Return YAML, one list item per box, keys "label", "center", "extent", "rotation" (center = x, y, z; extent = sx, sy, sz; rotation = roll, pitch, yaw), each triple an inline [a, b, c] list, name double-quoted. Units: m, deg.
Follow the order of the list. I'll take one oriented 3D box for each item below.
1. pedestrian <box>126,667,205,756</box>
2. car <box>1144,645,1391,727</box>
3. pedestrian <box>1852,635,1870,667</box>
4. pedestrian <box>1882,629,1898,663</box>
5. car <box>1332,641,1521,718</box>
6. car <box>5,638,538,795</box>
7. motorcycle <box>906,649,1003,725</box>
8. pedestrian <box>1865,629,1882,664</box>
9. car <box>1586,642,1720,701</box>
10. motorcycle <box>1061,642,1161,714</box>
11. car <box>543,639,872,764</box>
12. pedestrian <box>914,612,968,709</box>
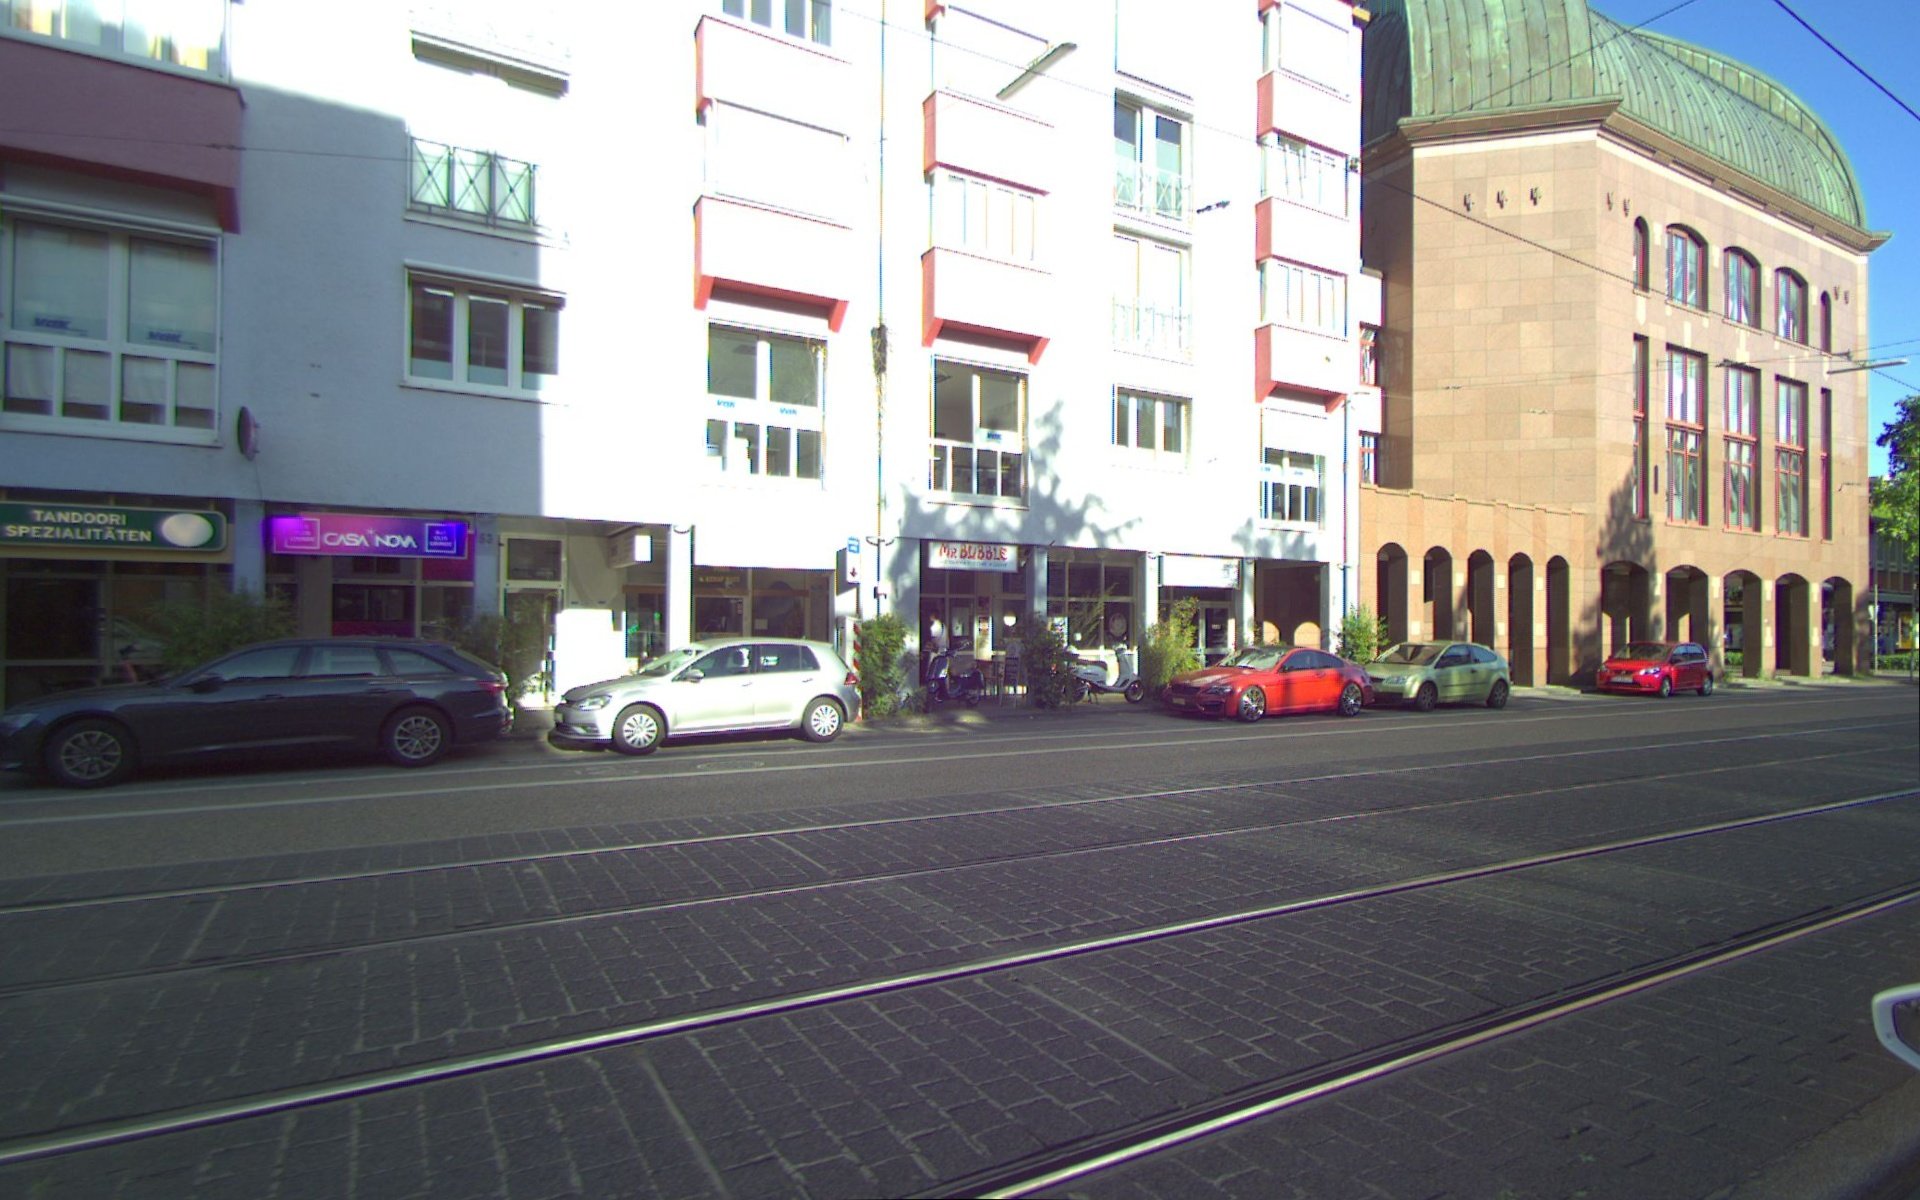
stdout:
- label: "pedestrian"
  center: [-11.421, 1.580, 14.464]
  extent: [0.771, 1.202, 0.668]
  rotation: [1, -2, -31]
- label: "car"
  center: [6.074, 1.597, 19.698]
  extent: [4.766, 1.343, 1.950]
  rotation: [1, 0, -31]
- label: "pedestrian"
  center: [54.557, 3.084, 60.792]
  extent: [0.666, 1.871, 0.623]
  rotation: [1, 1, -33]
- label: "pedestrian"
  center: [50.905, 2.512, 54.974]
  extent: [0.583, 1.826, 0.541]
  rotation: [1, 1, -39]
- label: "car"
  center: [10.336, 1.689, 22.186]
  extent: [4.240, 1.488, 1.661]
  rotation: [1, 0, -30]
- label: "car"
  center: [-7.631, 1.209, 11.745]
  extent: [4.771, 1.477, 1.892]
  rotation: [1, -1, -31]
- label: "motorcycle"
  center: [-0.074, 1.519, 17.974]
  extent: [0.455, 1.210, 2.071]
  rotation: [2, 0, 42]
- label: "pedestrian"
  center: [50.499, 2.570, 55.524]
  extent: [0.533, 1.897, 0.586]
  rotation: [1, 1, -38]
- label: "car"
  center: [18.890, 1.908, 27.368]
  extent: [3.577, 1.441, 1.651]
  rotation: [1, 0, -30]
- label: "motorcycle"
  center: [2.961, 1.504, 19.647]
  extent: [2.058, 1.315, 0.516]
  rotation: [1, 0, -31]
- label: "car"
  center: [-3.494, 1.320, 14.168]
  extent: [4.162, 1.494, 1.741]
  rotation: [2, -1, -33]
- label: "pedestrian"
  center: [-0.379, 1.177, 19.984]
  extent: [0.711, 1.867, 0.813]
  rotation: [0, 1, -39]
